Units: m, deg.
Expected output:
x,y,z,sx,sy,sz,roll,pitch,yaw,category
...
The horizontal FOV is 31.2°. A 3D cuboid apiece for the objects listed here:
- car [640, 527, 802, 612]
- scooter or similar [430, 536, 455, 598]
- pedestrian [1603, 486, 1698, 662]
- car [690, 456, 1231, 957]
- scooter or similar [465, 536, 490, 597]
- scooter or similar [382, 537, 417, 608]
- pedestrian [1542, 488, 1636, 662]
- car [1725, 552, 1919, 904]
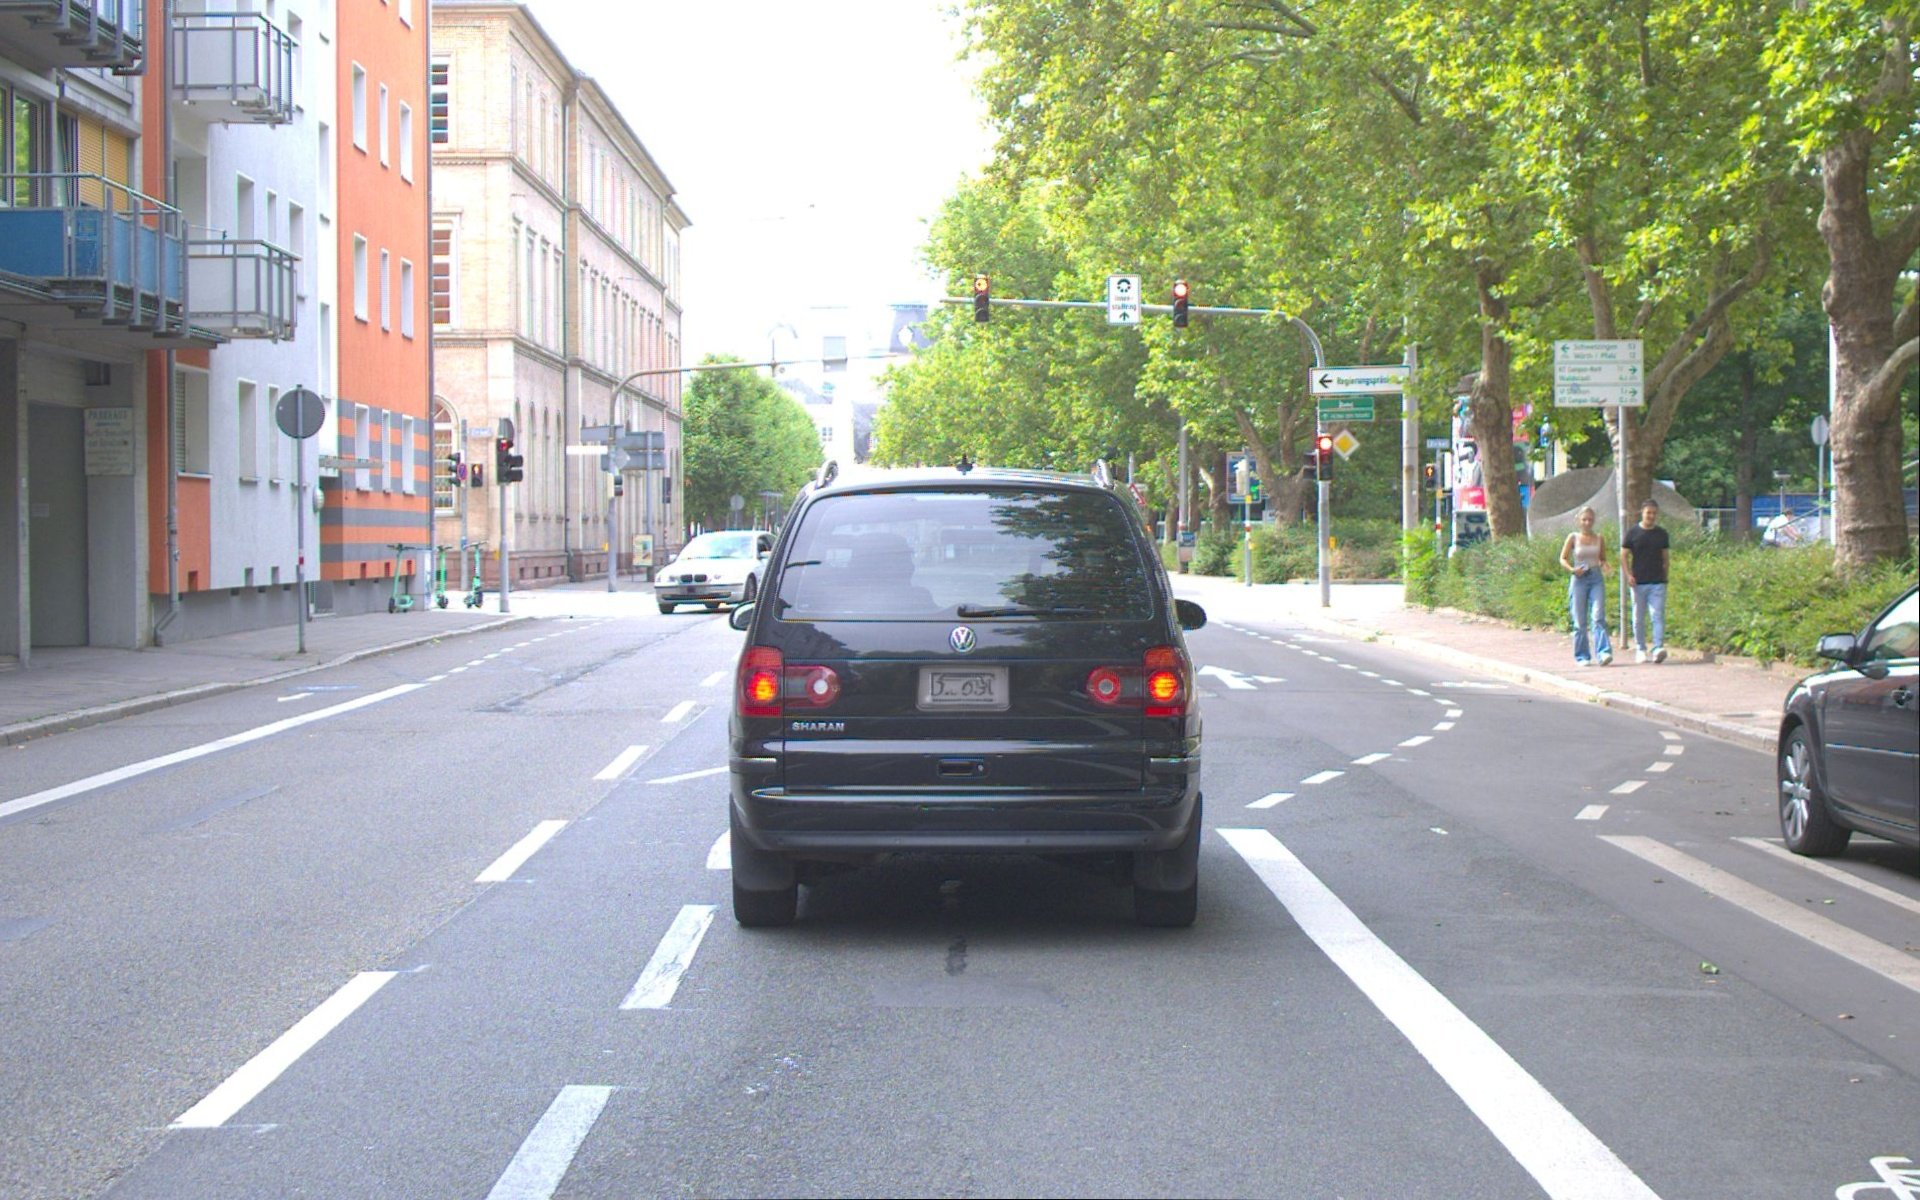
x,y,z,sx,sy,sz,roll,pitch,yaw,category
-4.287,-0.574,62.304,1.758,1.422,4.097,-1,1,13,car
-9.672,-0.612,64.269,0.378,1.143,1.142,0,0,-4,scooter or similar
7.214,-0.277,35.957,0.715,1.794,1.034,-2,1,-1,pedestrian
-0.040,0.315,14.220,1.874,1.739,4.574,0,1,-1,car
-9.075,-0.631,64.715,0.378,1.140,1.142,0,0,-4,scooter or similar
-9.463,-0.459,58.051,0.378,1.179,1.390,0,0,0,scooter or similar
6.579,-0.265,36.002,0.710,1.777,1.034,-2,1,-1,pedestrian
4.762,0.541,14.861,1.697,1.420,4.423,1,1,-3,car
